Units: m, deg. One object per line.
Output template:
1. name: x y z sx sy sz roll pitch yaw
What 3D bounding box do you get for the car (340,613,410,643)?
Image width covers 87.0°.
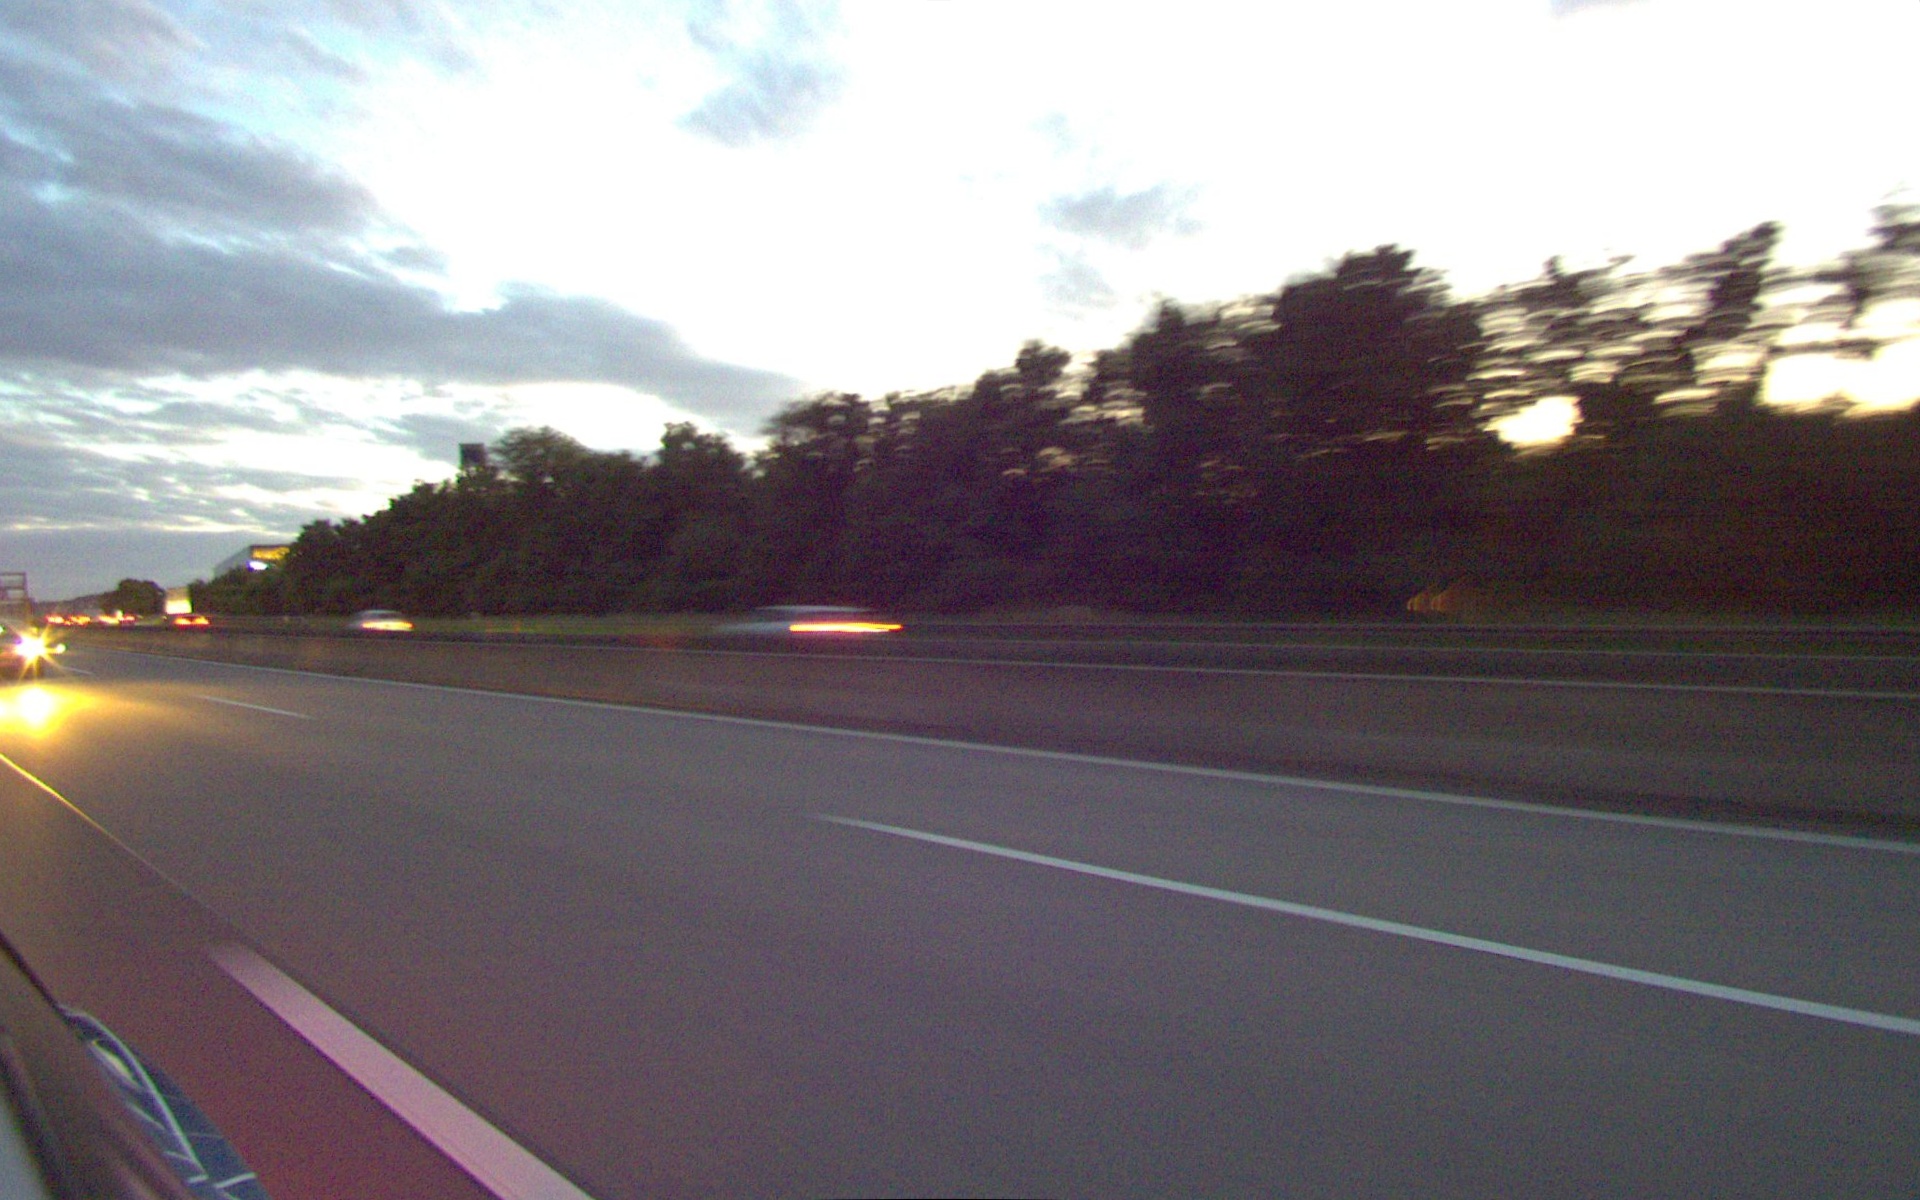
1. car: -29.847 1.402 51.602 3.833 1.464 1.973 -1 0 42

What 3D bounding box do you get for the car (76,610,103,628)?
1. car: -128.100 2.780 148.918 7.097 2.450 2.300 -1 0 44

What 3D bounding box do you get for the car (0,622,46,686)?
1. car: -24.415 1.330 25.527 4.000 1.491 1.694 -1 0 43

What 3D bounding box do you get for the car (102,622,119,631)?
1. car: -152.278 4.780 181.357 4.239 1.471 1.971 -1 0 45

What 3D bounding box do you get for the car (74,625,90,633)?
1. car: -176.238 5.792 203.127 4.560 1.516 1.971 -1 0 45

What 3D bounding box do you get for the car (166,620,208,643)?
1. car: -64.916 2.612 84.999 4.839 1.804 1.972 -1 0 42

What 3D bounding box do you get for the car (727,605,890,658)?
1. car: -4.357 0.856 28.592 4.907 1.346 1.815 -1 0 41

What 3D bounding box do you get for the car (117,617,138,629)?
1. car: -130.686 3.591 158.877 4.972 1.706 1.971 -1 0 44
